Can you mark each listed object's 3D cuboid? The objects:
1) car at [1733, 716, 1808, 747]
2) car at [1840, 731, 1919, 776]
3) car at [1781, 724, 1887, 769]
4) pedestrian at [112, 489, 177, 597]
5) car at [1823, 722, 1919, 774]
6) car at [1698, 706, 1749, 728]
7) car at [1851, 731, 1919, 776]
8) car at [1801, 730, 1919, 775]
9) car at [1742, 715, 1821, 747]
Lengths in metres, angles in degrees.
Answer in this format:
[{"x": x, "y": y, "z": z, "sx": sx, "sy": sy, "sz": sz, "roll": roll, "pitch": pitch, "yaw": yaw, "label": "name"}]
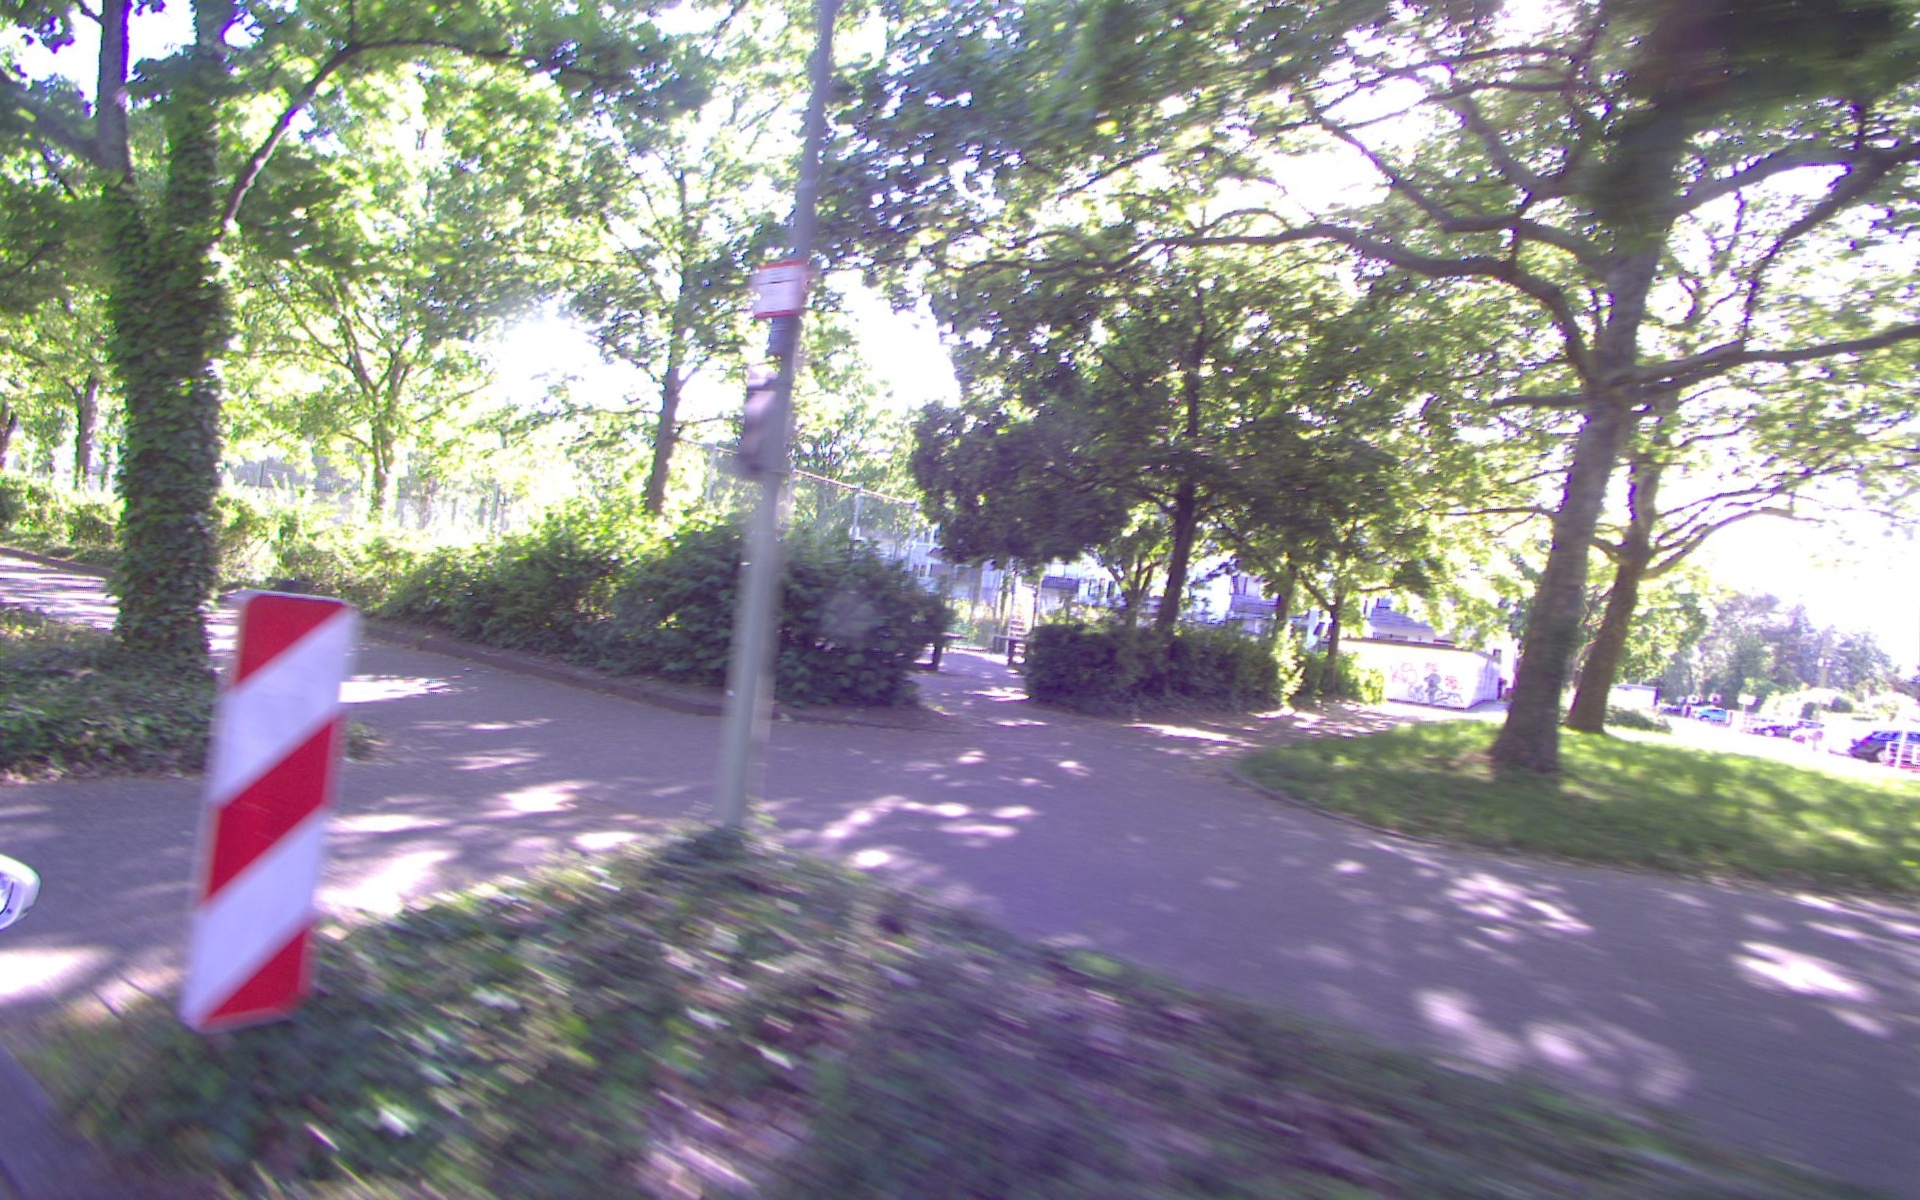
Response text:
[{"x": 58.425, "y": 9.491, "z": 72.645, "sx": 3.938, "sy": 1.641, "sz": 1.996, "roll": 6, "pitch": -3, "yaw": 36, "label": "car"}, {"x": 37.815, "y": 6.219, "z": 39.840, "sx": 4.086, "sy": 1.381, "sz": 1.747, "roll": 7, "pitch": -3, "yaw": 31, "label": "car"}, {"x": 46.326, "y": 7.759, "z": 53.437, "sx": 3.938, "sy": 1.641, "sz": 1.996, "roll": 6, "pitch": -3, "yaw": 36, "label": "car"}, {"x": -13.056, "y": -0.912, "z": 16.113, "sx": 0.662, "sy": 1.627, "sz": 0.570, "roll": 7, "pitch": 0, "yaw": 42, "label": "pedestrian"}, {"x": 39.170, "y": 6.292, "z": 42.239, "sx": 4.086, "sy": 1.705, "sz": 1.747, "roll": 7, "pitch": -3, "yaw": 31, "label": "car"}, {"x": 78.113, "y": 11.996, "z": 102.975, "sx": 3.938, "sy": 1.641, "sz": 1.996, "roll": 6, "pitch": -3, "yaw": 36, "label": "car"}, {"x": 36.486, "y": 5.963, "z": 37.840, "sx": 4.086, "sy": 1.381, "sz": 1.747, "roll": 7, "pitch": -3, "yaw": 31, "label": "car"}, {"x": 42.857, "y": 7.224, "z": 47.797, "sx": 4.086, "sy": 1.381, "sz": 1.747, "roll": 7, "pitch": -3, "yaw": 31, "label": "car"}, {"x": 56.454, "y": 9.033, "z": 69.212, "sx": 3.938, "sy": 1.545, "sz": 1.996, "roll": 6, "pitch": -3, "yaw": 36, "label": "car"}]
